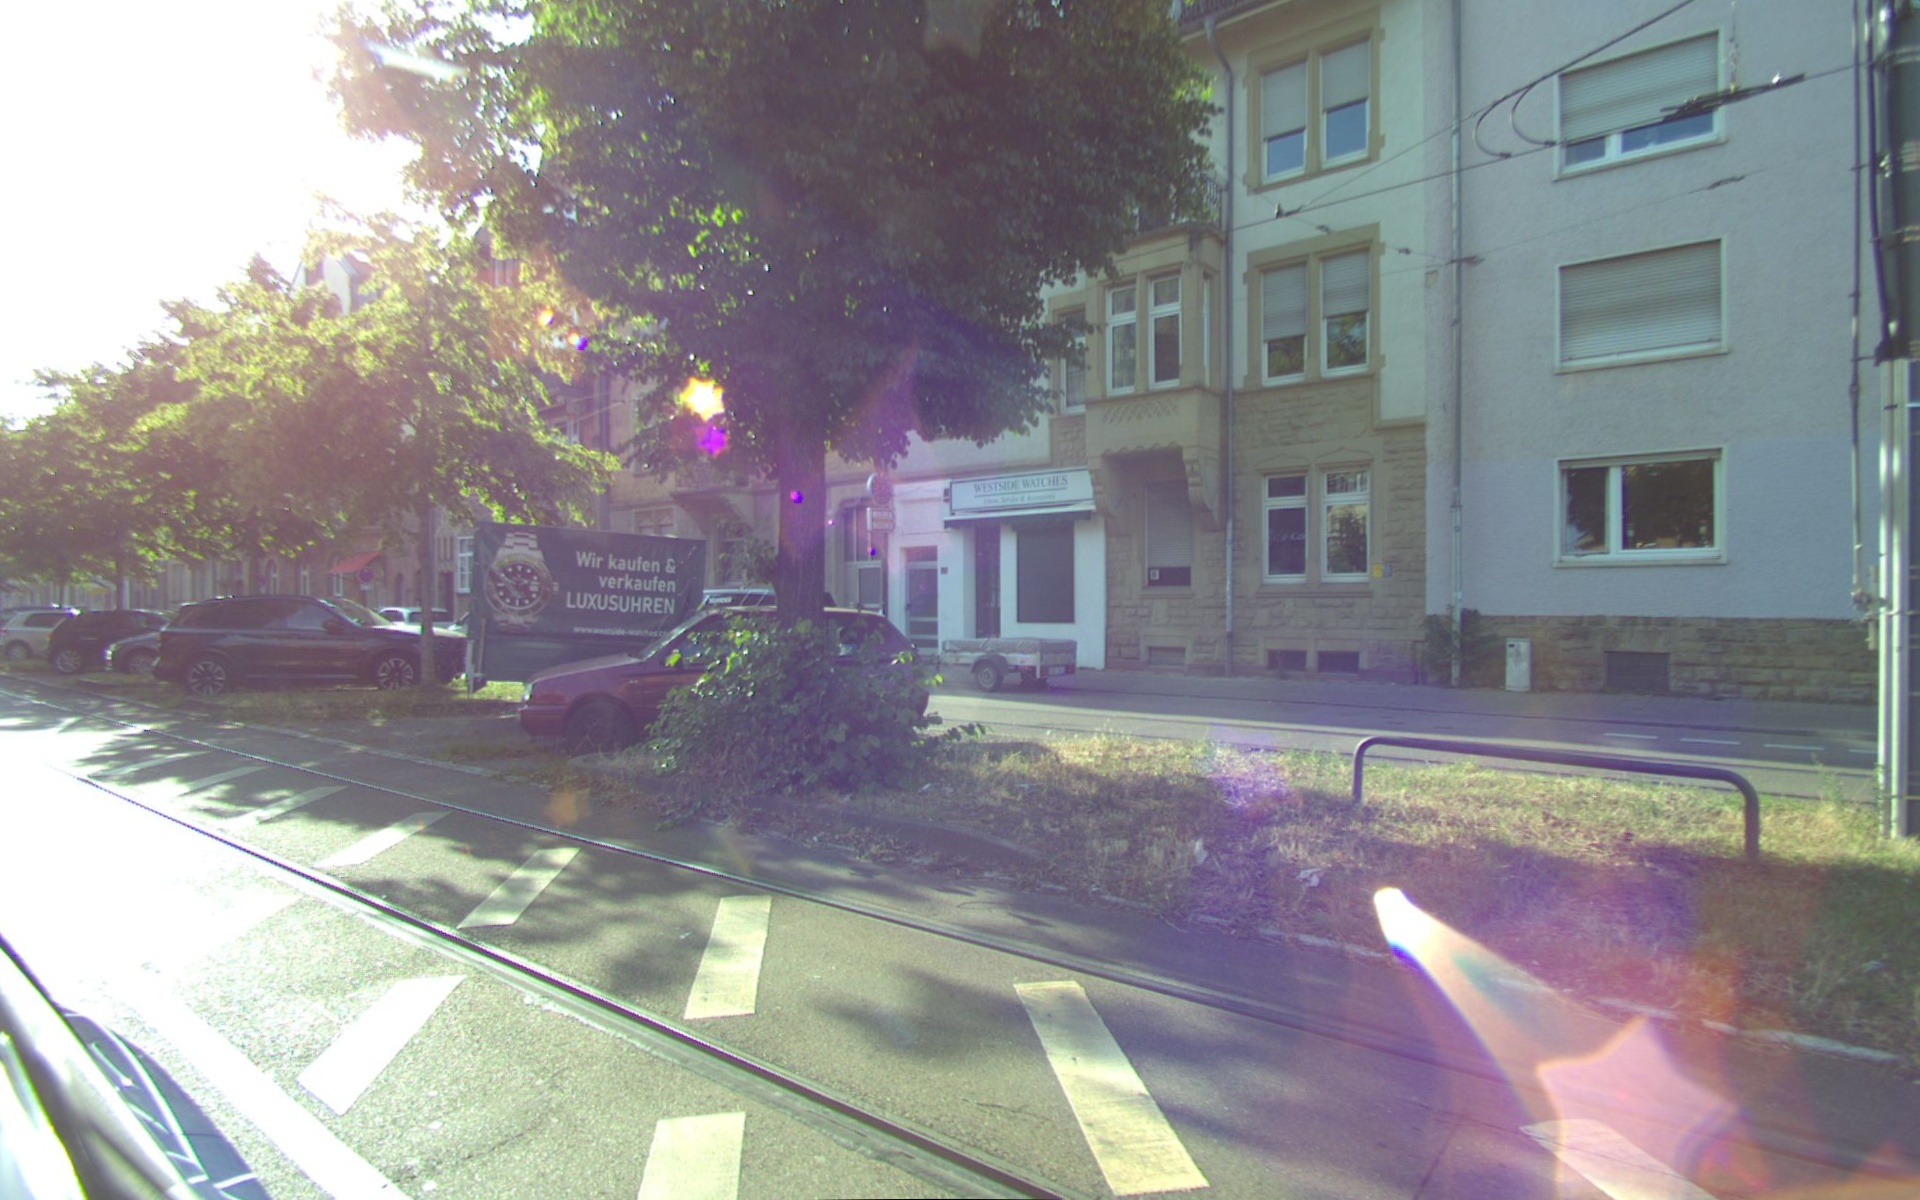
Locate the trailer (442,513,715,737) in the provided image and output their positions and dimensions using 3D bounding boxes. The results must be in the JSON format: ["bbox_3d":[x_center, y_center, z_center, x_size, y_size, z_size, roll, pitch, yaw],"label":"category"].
[{"bbox_3d":[-4.511,0.243,12.180,2.817,2.410,1.728,-1,0,-20],"label":"trailer"}]

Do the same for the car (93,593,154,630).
[{"bbox_3d":[-48.696,0.653,58.927,3.996,2.029,1.974,-1,0,39],"label":"car"}]

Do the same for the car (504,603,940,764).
[{"bbox_3d":[-2.288,0.736,10.089,3.887,1.370,1.677,0,0,-14],"label":"car"}]

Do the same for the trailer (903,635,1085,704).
[{"bbox_3d":[0.575,1.167,17.756,2.876,0.902,1.427,-1,6,39],"label":"trailer"}]

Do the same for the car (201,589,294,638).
[{"bbox_3d":[-29.977,0.572,42.525,4.608,1.915,2.142,-1,0,41],"label":"car"}]

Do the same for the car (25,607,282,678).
[{"bbox_3d":[-18.493,0.941,23.418,4.237,1.433,1.963,-1,0,-10],"label":"car"}]

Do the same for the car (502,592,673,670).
[{"bbox_3d":[-9.546,0.746,25.784,4.608,1.763,2.142,-1,0,41],"label":"car"}]

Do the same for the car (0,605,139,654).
[{"bbox_3d":[-29.543,0.947,32.641,4.203,1.433,2.177,-1,0,-10],"label":"car"}]

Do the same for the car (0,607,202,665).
[{"bbox_3d":[-23.802,0.958,28.008,4.203,1.433,1.685,-1,0,-10],"label":"car"}]

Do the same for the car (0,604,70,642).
[{"bbox_3d":[-37.351,0.888,38.905,4.202,1.433,2.177,0,0,-10],"label":"car"}]

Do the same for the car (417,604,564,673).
[{"bbox_3d":[-13.504,1.042,28.994,4.608,1.763,2.142,-1,0,41],"label":"car"}]

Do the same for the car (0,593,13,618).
[{"bbox_3d":[-79.710,0.485,83.532,3.999,2.029,1.972,-1,0,42],"label":"car"}]

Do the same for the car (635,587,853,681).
[{"bbox_3d":[-4.675,0.665,21.529,4.716,1.763,2.142,-1,0,41],"label":"car"}]

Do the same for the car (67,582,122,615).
[{"bbox_3d":[-55.264,-0.088,64.585,3.996,2.029,1.974,-1,0,39],"label":"car"}]

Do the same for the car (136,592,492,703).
[{"bbox_3d":[-10.755,0.745,17.250,4.642,1.703,2.176,0,0,-9],"label":"car"}]

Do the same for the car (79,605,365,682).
[{"bbox_3d":[-15.334,0.855,21.310,4.532,1.392,1.707,-1,0,-16],"label":"car"}]
